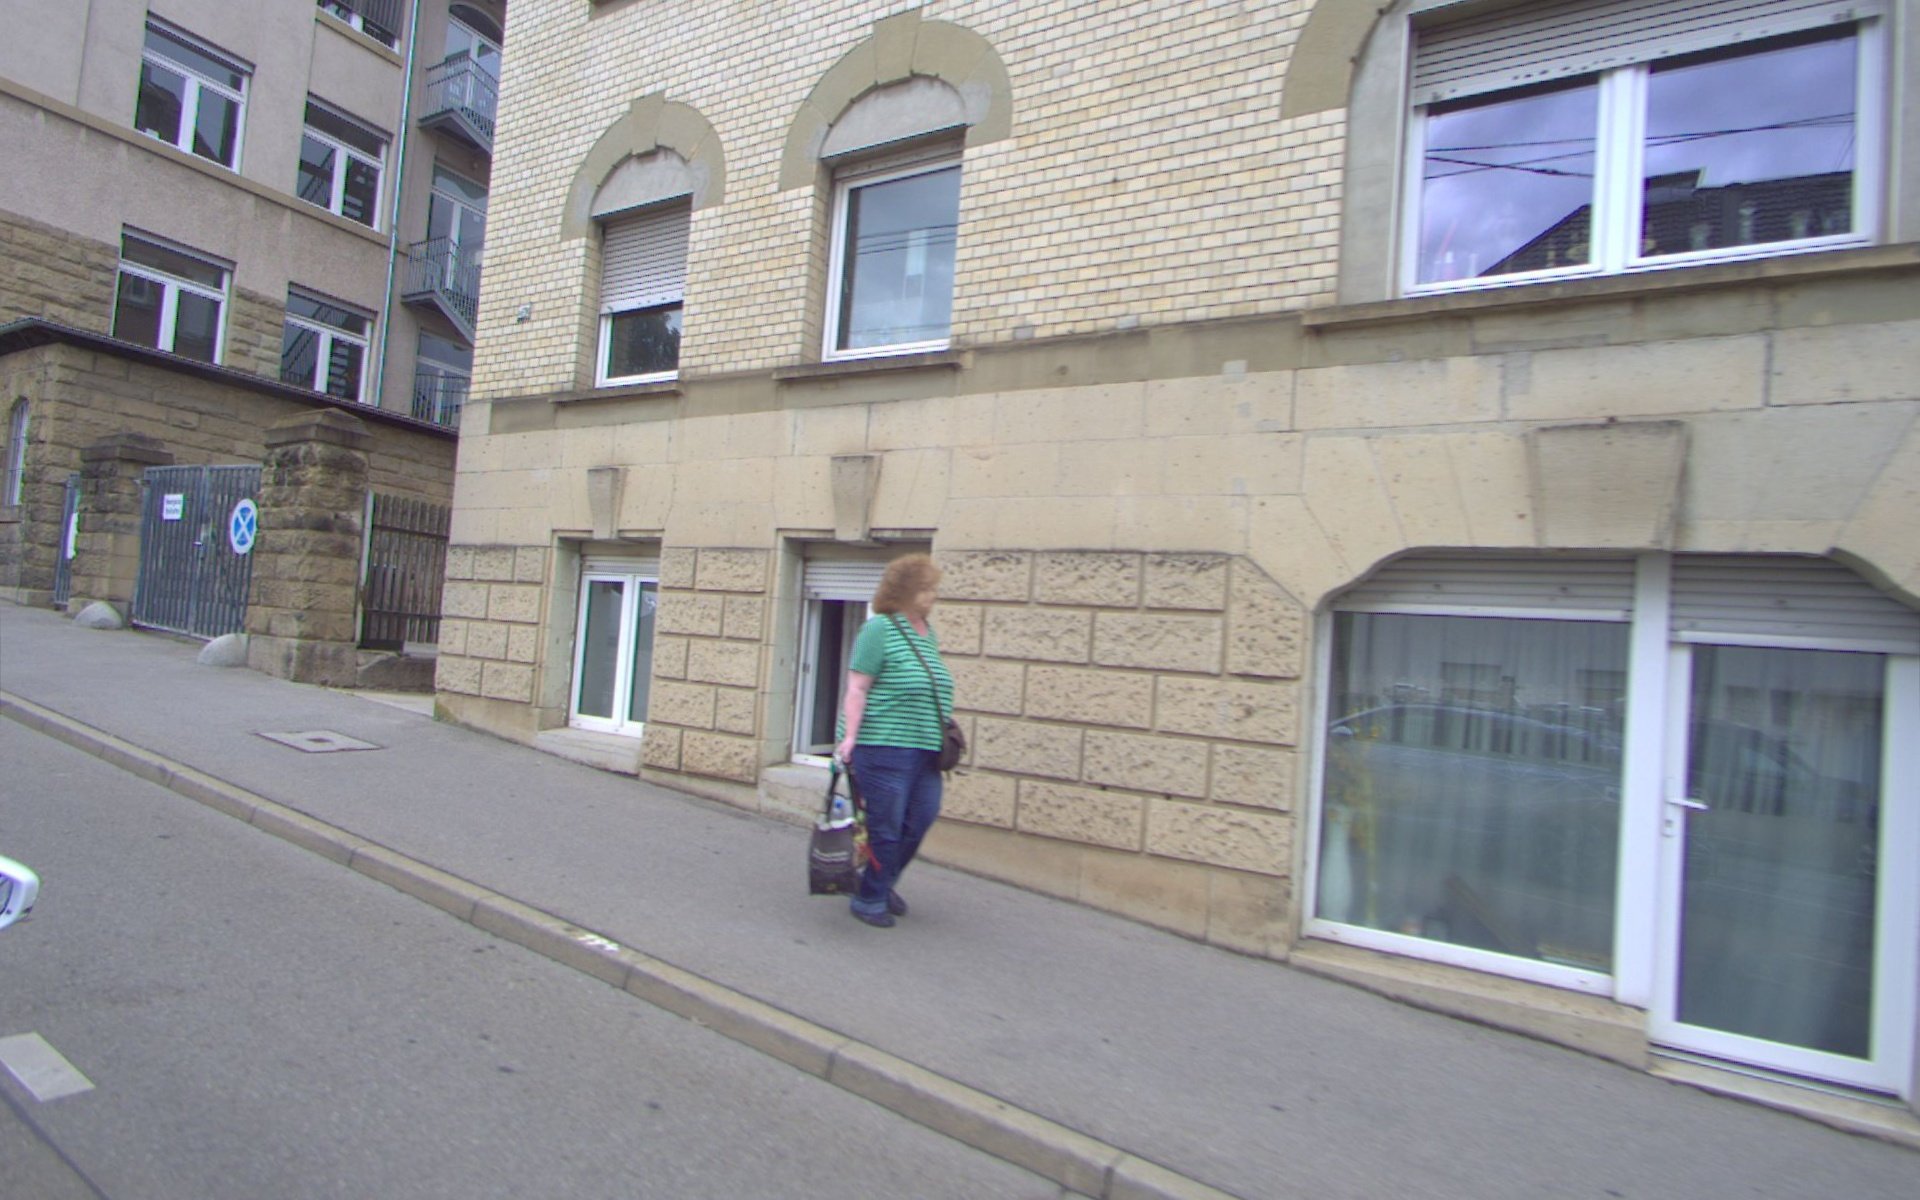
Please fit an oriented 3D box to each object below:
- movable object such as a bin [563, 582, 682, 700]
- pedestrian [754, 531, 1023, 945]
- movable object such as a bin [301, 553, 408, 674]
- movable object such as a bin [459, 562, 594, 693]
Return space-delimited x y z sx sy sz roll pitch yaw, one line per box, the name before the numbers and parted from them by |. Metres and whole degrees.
movable object such as a bin | -4.866 0.600 14.545 0.980 1.532 1.077 7 -1 31
pedestrian | -0.340 0.595 4.617 0.863 1.707 0.658 6 1 -30
movable object such as a bin | -6.717 0.155 11.169 0.595 1.232 0.695 7 -1 31
movable object such as a bin | -5.625 0.371 13.078 0.980 1.532 1.077 7 -1 31
